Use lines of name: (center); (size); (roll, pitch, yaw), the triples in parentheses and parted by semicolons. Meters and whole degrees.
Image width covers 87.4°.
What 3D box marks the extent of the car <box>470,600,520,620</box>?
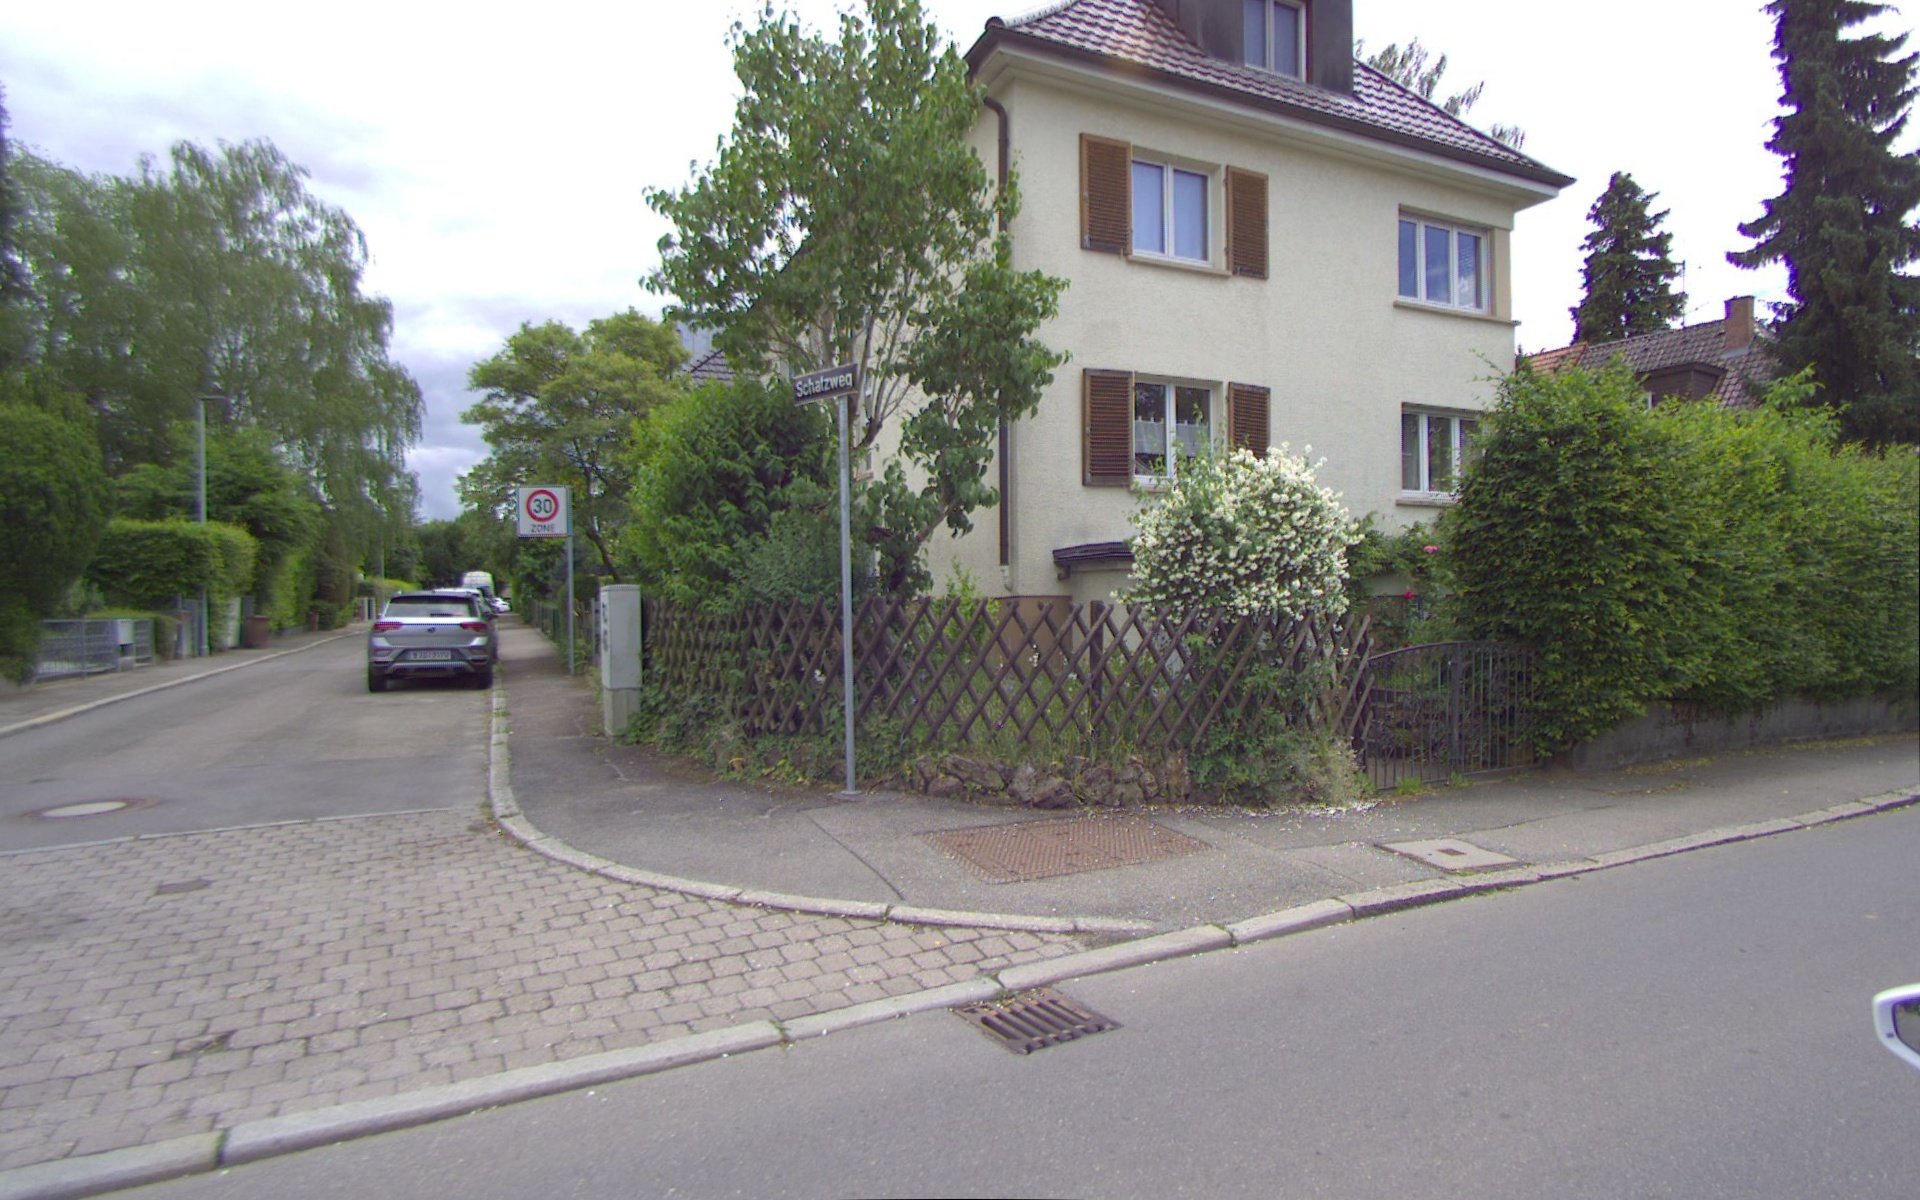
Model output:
car: (-43.182, 0.917, 93.342); (3.937, 1.818, 1.808); (1, 0, -19)

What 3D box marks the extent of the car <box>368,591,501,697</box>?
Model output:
car: (-8.822, 0.669, 17.101); (1.783, 1.565, 3.975); (1, 0, -25)

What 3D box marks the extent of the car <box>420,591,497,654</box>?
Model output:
car: (-13.724, 0.592, 27.632); (1.746, 1.594, 3.853); (1, 0, -25)

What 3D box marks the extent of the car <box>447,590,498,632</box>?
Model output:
car: (-20.226, 0.447, 41.778); (1.822, 1.662, 3.975); (1, 0, -25)

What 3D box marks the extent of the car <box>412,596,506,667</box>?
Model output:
car: (-11.176, 0.657, 22.554); (1.718, 1.427, 3.809); (1, 0, -25)

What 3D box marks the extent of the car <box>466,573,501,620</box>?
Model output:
car: (-30.142, -0.193, 63.556); (1.944, 2.893, 3.975); (1, 0, -25)

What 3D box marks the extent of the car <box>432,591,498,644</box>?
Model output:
car: (-15.766, 0.538, 32.106); (1.763, 1.607, 3.872); (1, 0, -25)
